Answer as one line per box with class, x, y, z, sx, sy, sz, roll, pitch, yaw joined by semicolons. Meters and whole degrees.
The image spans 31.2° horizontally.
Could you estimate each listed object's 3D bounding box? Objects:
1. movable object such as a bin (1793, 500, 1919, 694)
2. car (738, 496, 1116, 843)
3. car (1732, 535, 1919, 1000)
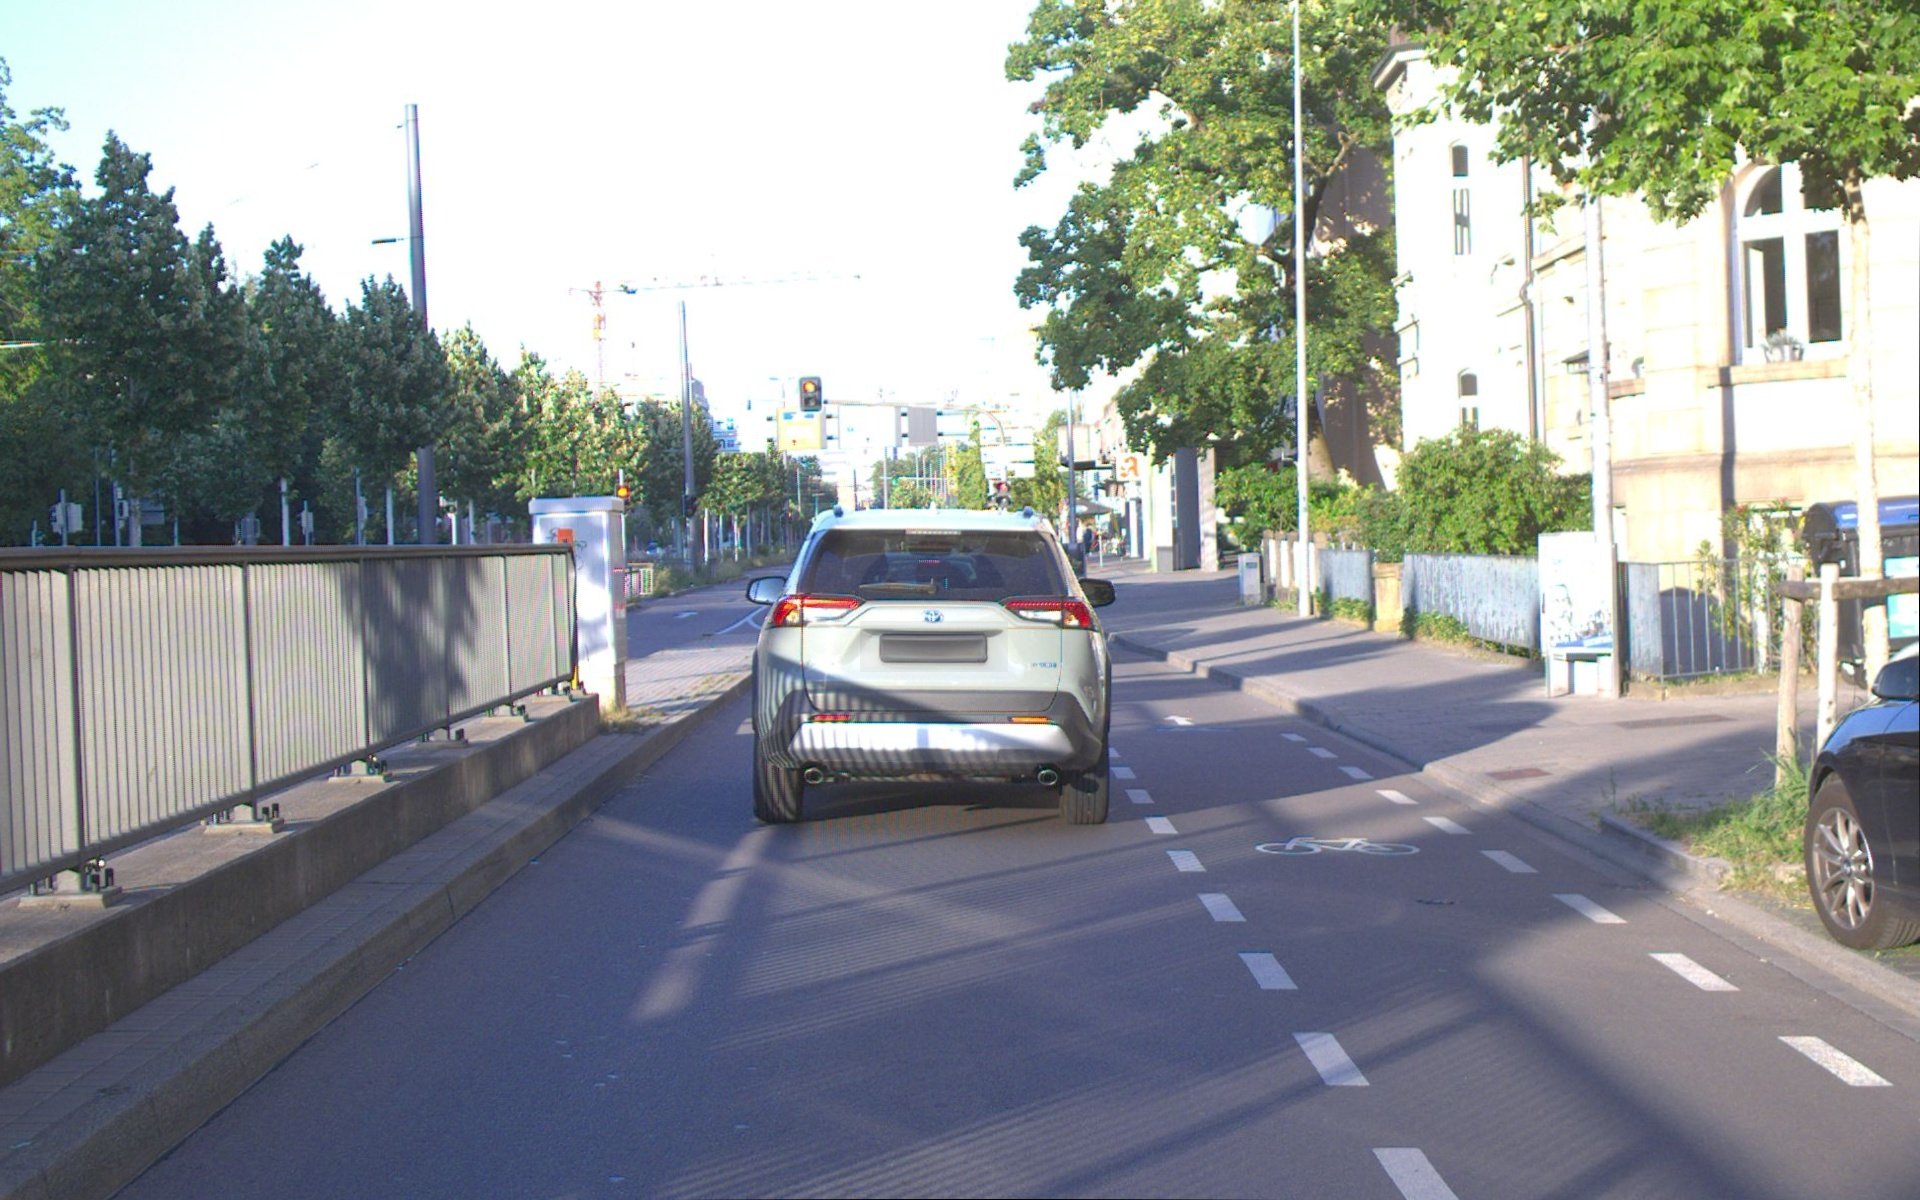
movable object such as a bin;7.259;-0.041;26.658;1.260;1.457;1.124;-1;1;-3
car;-0.236;0.311;19.084;1.857;1.708;4.193;0;1;-2
car;3.990;0.515;10.882;1.792;1.466;4.446;-4;1;-3
